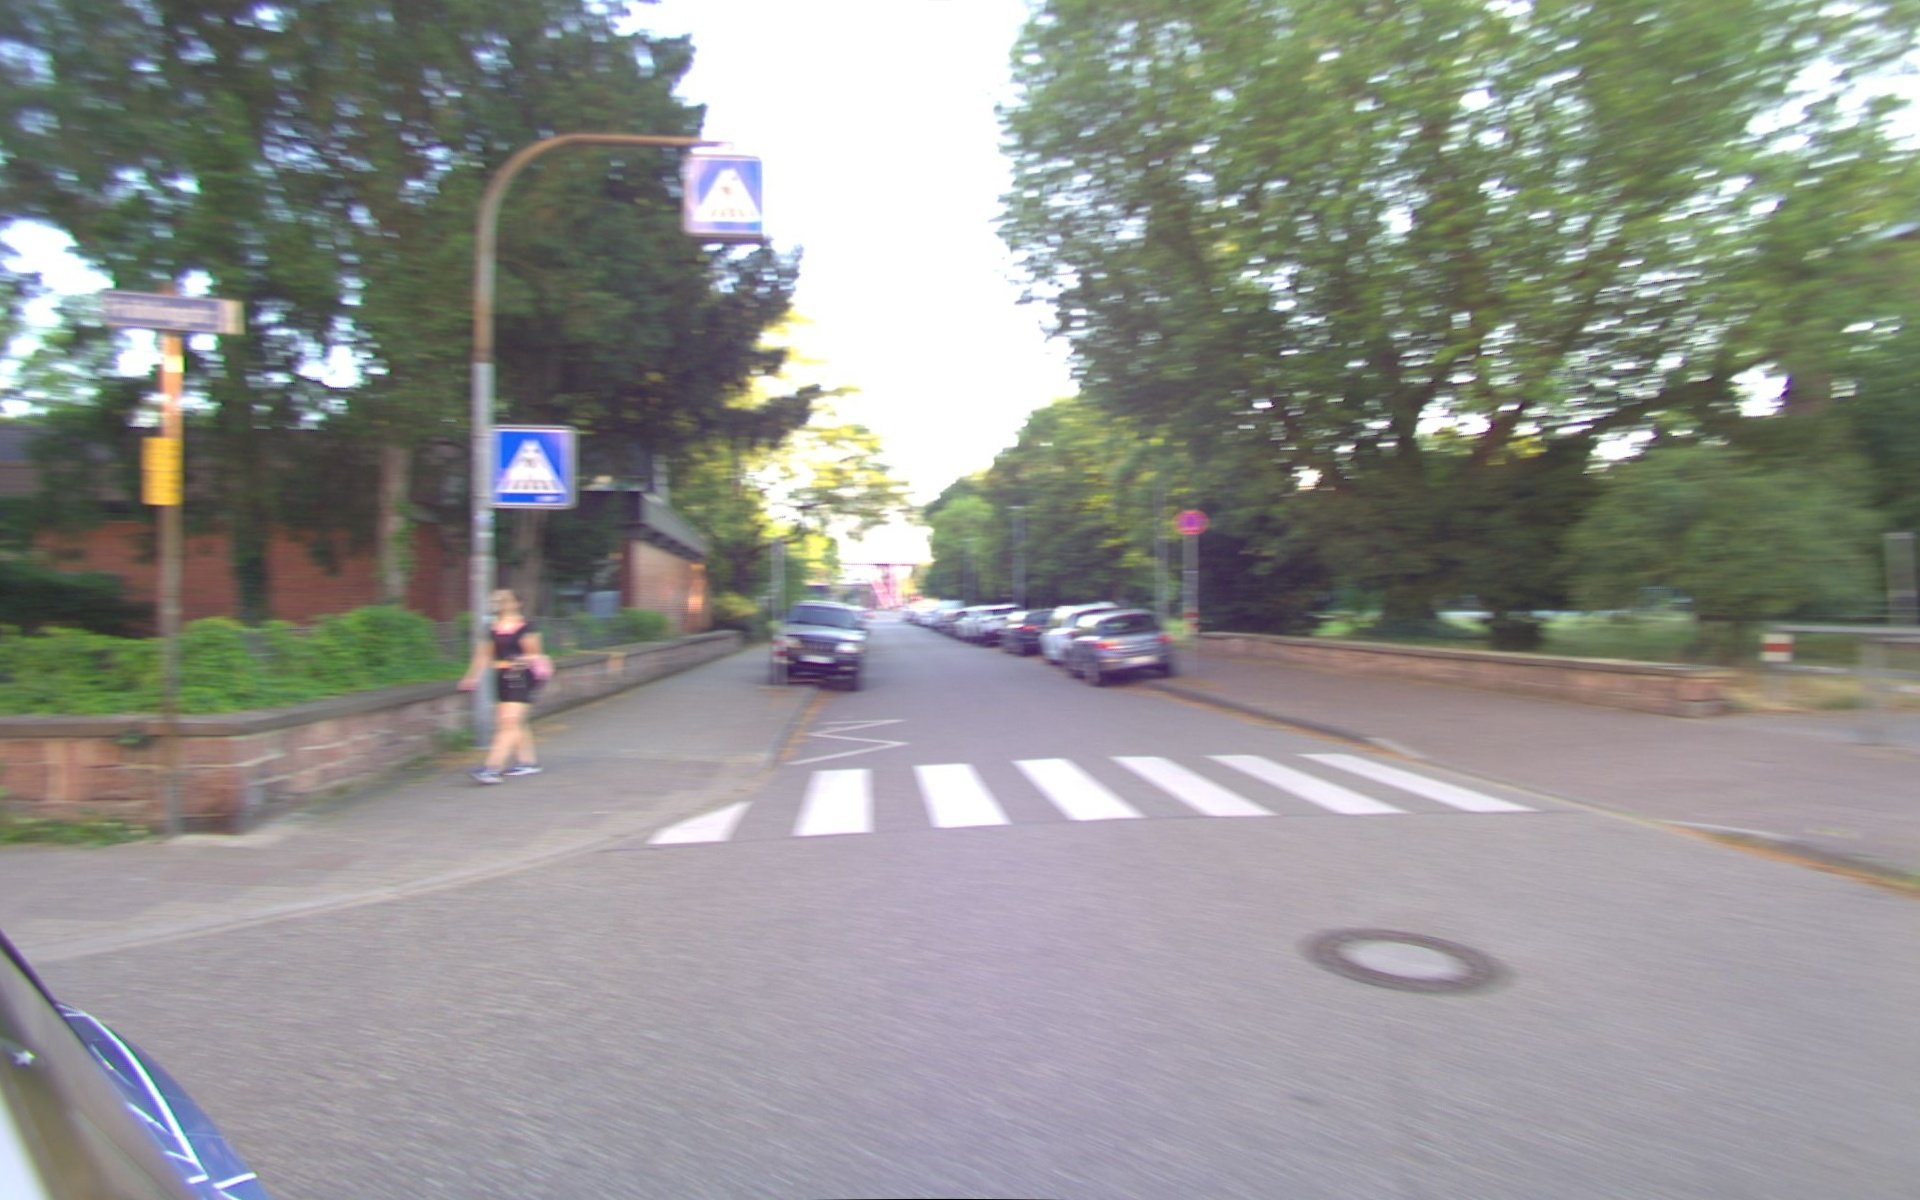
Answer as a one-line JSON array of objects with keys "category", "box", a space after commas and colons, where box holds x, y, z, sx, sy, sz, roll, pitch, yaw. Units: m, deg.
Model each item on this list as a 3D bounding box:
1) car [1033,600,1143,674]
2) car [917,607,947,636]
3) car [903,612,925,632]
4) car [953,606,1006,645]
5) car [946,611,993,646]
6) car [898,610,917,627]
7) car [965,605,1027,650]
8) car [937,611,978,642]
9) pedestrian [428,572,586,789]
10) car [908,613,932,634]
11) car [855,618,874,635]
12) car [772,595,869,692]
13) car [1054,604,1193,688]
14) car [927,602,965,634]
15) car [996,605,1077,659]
[{"category": "car", "box": [3.230, 0.922, 26.268, 1.760, 1.589, 3.890, -6, 0, -7]}, {"category": "car", "box": [-2.207, 1.664, 78.618, 1.760, 2.052, 3.890, -6, 0, -7]}, {"category": "car", "box": [-4.705, 2.248, 104.116, 1.760, 1.796, 4.018, -6, 0, -7]}, {"category": "car", "box": [0.866, 1.178, 47.537, 1.760, 1.583, 3.890, -6, 0, -7]}, {"category": "car", "box": [0.457, 1.441, 52.526, 1.760, 1.583, 3.890, -6, 0, -7]}, {"category": "car", "box": [-6.309, 2.191, 121.230, 1.760, 1.796, 4.018, -6, 0, -8]}, {"category": "car", "box": [1.419, 1.130, 41.633, 1.760, 1.583, 3.890, -6, 0, -7]}, {"category": "car", "box": [-0.189, 1.510, 58.108, 1.760, 1.583, 3.890, -6, 0, -7]}, {"category": "pedestrian", "box": [-3.914, 0.669, 8.813, 0.852, 1.739, 0.823, 4, -1, 7]}, {"category": "car", "box": [-3.749, 2.168, 94.018, 1.760, 1.808, 3.890, -6, 0, -7]}, {"category": "car", "box": [-10.511, 2.894, 110.968, 1.969, 1.763, 4.006, -1, -1, -7]}, {"category": "car", "box": [-2.858, 0.857, 20.888, 1.759, 1.767, 3.890, 2, -1, -7]}, {"category": "car", "box": [3.356, 0.926, 21.588, 1.760, 1.462, 3.890, -6, 0, -7]}, {"category": "car", "box": [-0.957, 1.209, 67.904, 1.935, 1.850, 3.890, -6, 0, -7]}, {"category": "car", "box": [2.447, 1.020, 33.234, 1.760, 1.487, 3.890, -6, 0, -7]}]
